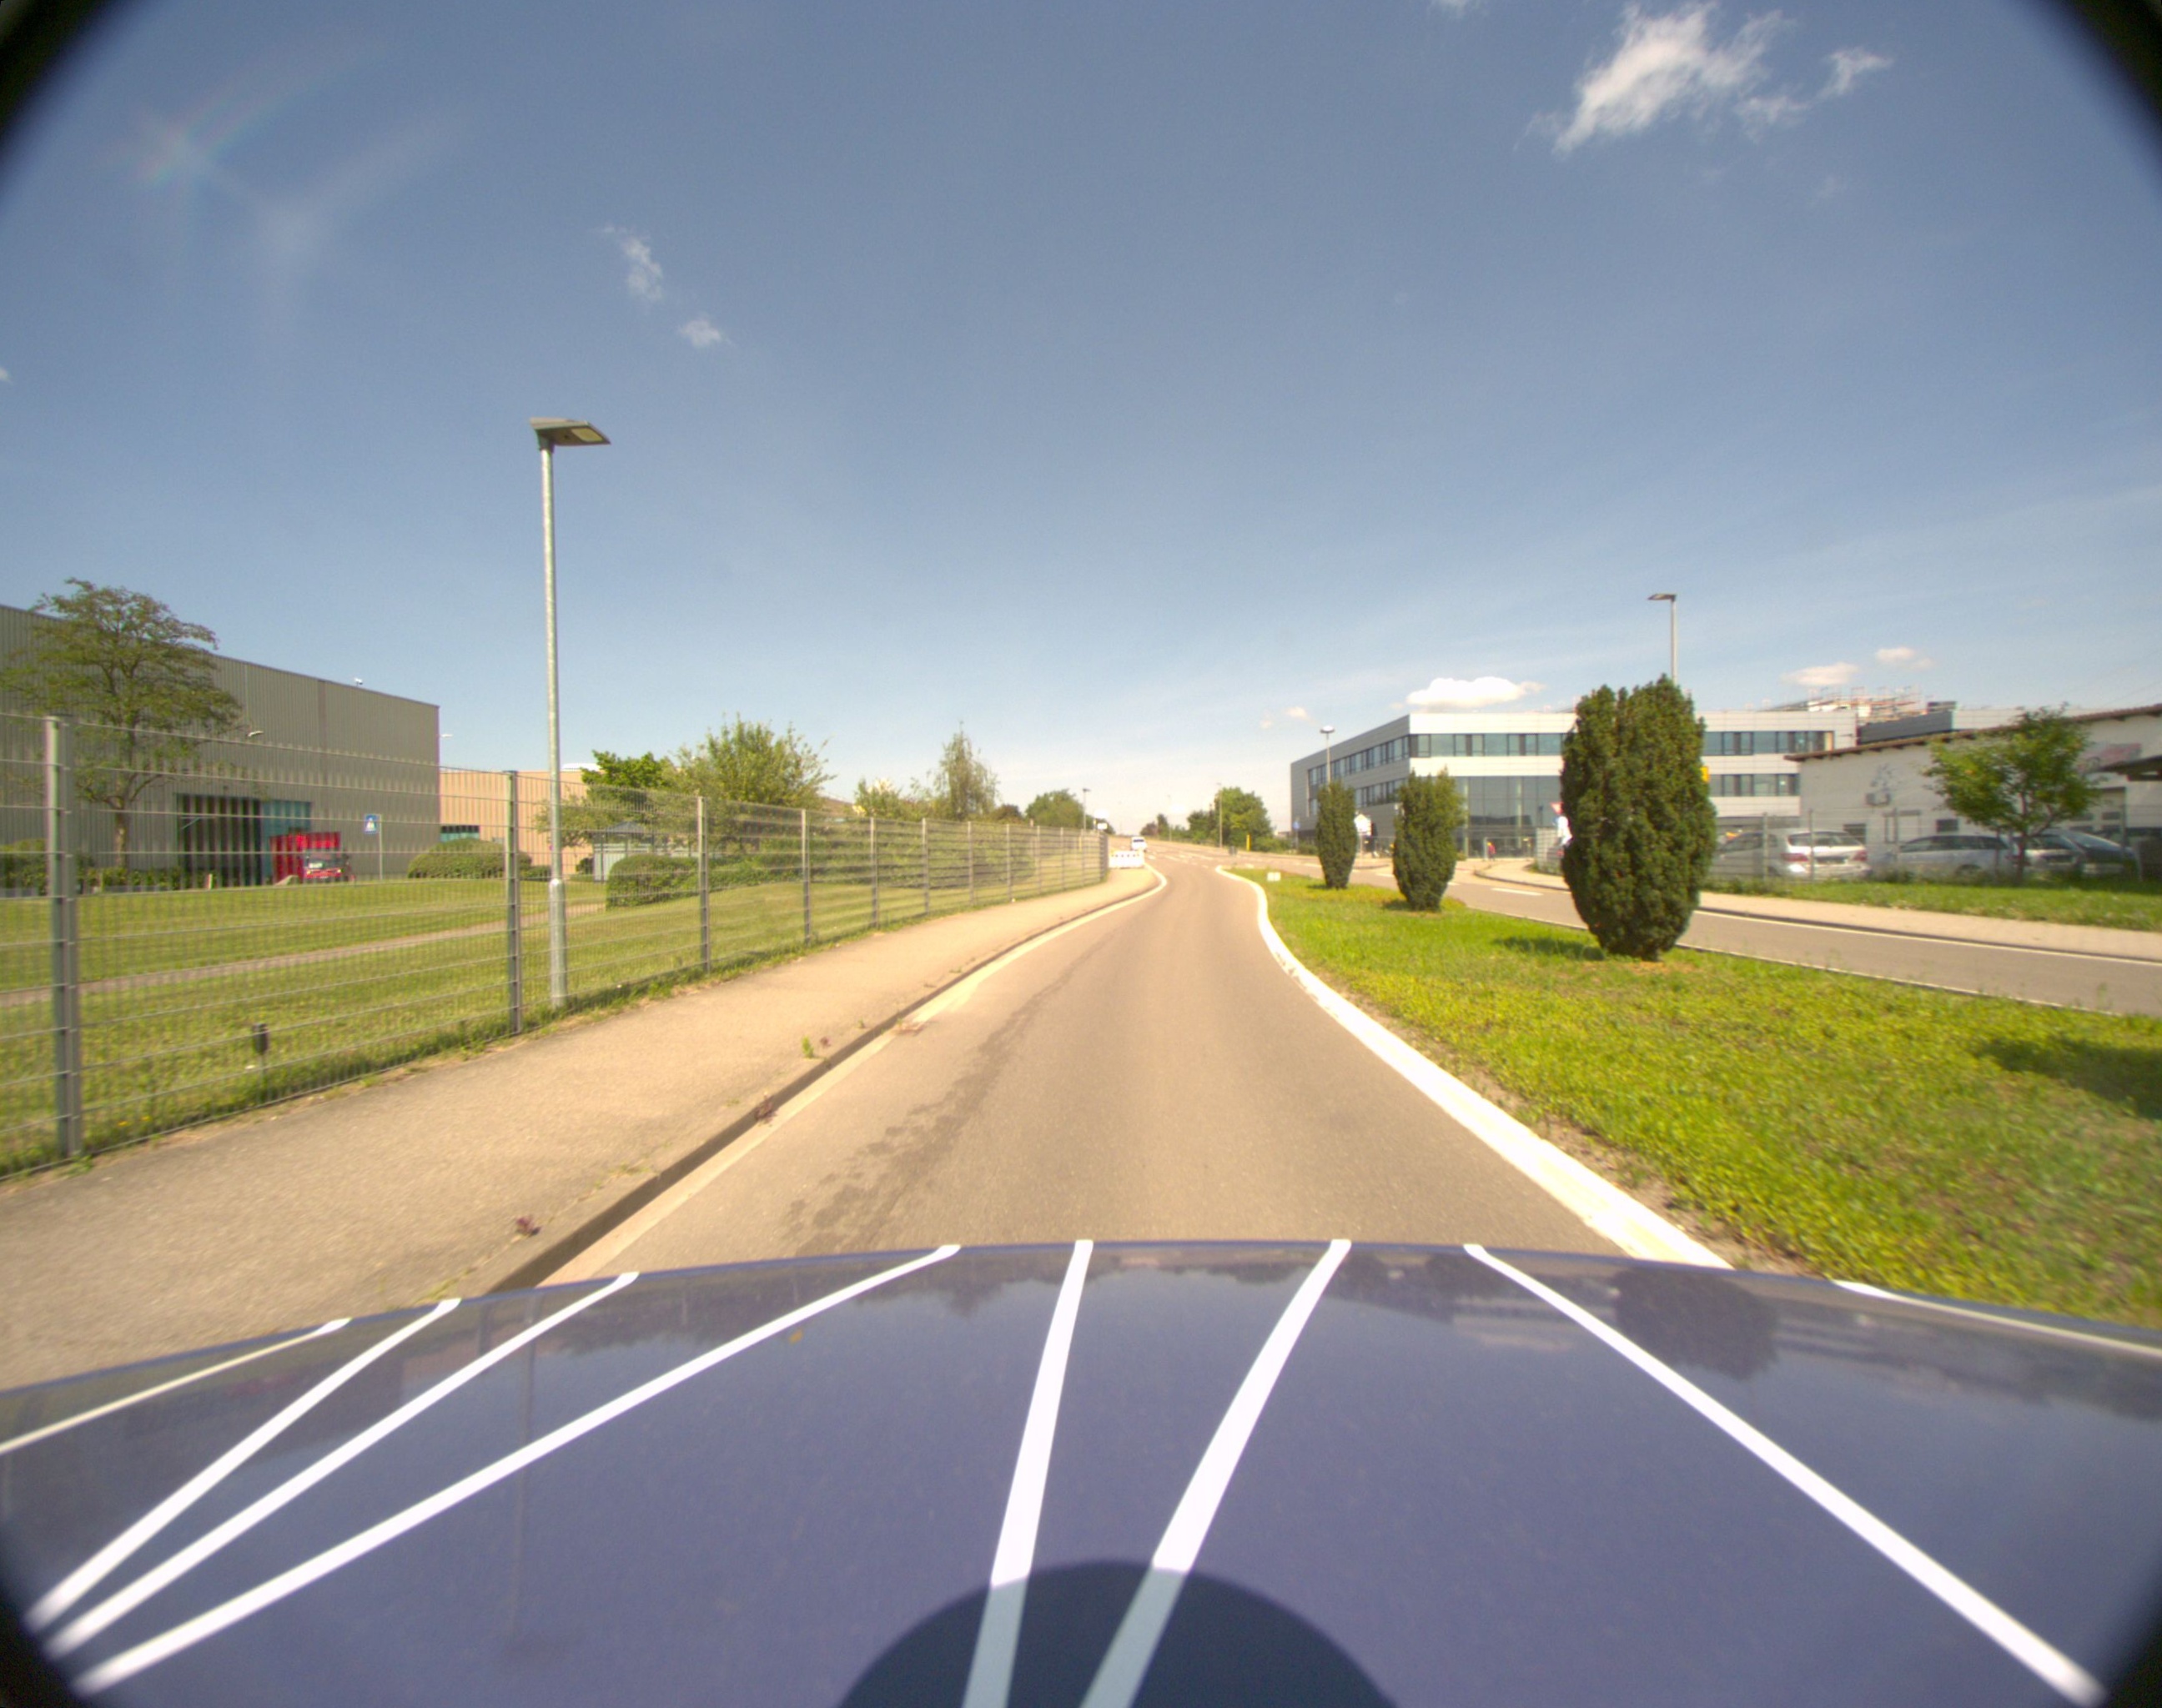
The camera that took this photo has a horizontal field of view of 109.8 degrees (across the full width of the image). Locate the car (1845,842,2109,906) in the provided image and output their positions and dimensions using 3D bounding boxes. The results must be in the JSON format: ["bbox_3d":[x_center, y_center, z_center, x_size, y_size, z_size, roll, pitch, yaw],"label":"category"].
[{"bbox_3d":[22.370,0.432,19.267,1.998,1.434,4.000,-1,1,1],"label":"car"}]

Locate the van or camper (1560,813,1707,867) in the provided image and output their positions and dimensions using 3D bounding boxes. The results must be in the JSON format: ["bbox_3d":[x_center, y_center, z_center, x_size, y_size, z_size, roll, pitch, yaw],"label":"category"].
[{"bbox_3d":[26.887,-0.650,37.285,5.573,2.483,2.082,0,1,28],"label":"van or camper"}]

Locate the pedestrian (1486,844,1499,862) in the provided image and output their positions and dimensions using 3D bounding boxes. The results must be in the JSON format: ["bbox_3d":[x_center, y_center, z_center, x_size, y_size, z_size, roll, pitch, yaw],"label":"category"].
[{"bbox_3d":[37.959,-0.092,70.090,0.782,1.718,0.774,-1,1,-2],"label":"pedestrian"}]

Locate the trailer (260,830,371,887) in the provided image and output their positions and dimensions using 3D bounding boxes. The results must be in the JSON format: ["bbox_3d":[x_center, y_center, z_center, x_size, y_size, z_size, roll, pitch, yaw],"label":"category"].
[{"bbox_3d":[-38.430,0.217,38.115,5.972,2.706,2.003,0,1,25],"label":"trailer"}]

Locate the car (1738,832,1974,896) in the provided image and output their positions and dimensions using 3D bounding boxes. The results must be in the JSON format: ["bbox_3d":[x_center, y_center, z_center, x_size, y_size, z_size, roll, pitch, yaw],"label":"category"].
[{"bbox_3d":[19.377,0.203,19.302,1.998,1.434,4.000,-1,1,2],"label":"car"}]

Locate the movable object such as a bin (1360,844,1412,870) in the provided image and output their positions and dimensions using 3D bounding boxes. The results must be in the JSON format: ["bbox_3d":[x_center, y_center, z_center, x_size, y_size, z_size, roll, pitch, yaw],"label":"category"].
[{"bbox_3d":[29.229,0.208,72.925,2.172,2.396,5.455,-1,1,-9],"label":"movable object such as a bin"}]

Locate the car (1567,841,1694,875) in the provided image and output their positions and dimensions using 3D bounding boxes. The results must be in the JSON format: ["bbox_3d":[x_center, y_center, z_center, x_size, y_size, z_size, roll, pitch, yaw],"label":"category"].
[{"bbox_3d":[21.971,0.159,30.559,3.881,1.313,1.694,-1,1,23],"label":"car"}]

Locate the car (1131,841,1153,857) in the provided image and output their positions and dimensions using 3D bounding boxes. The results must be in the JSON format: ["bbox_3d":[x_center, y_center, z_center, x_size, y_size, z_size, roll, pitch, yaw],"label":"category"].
[{"bbox_3d":[7.671,-0.629,96.044,2.000,1.904,3.997,-1,1,-7],"label":"car"}]

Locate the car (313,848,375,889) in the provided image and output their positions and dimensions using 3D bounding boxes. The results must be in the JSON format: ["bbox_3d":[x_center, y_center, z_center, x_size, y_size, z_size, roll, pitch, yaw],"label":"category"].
[{"bbox_3d":[-34.357,0.634,35.406,3.988,1.805,1.905,0,1,44],"label":"car"}]
